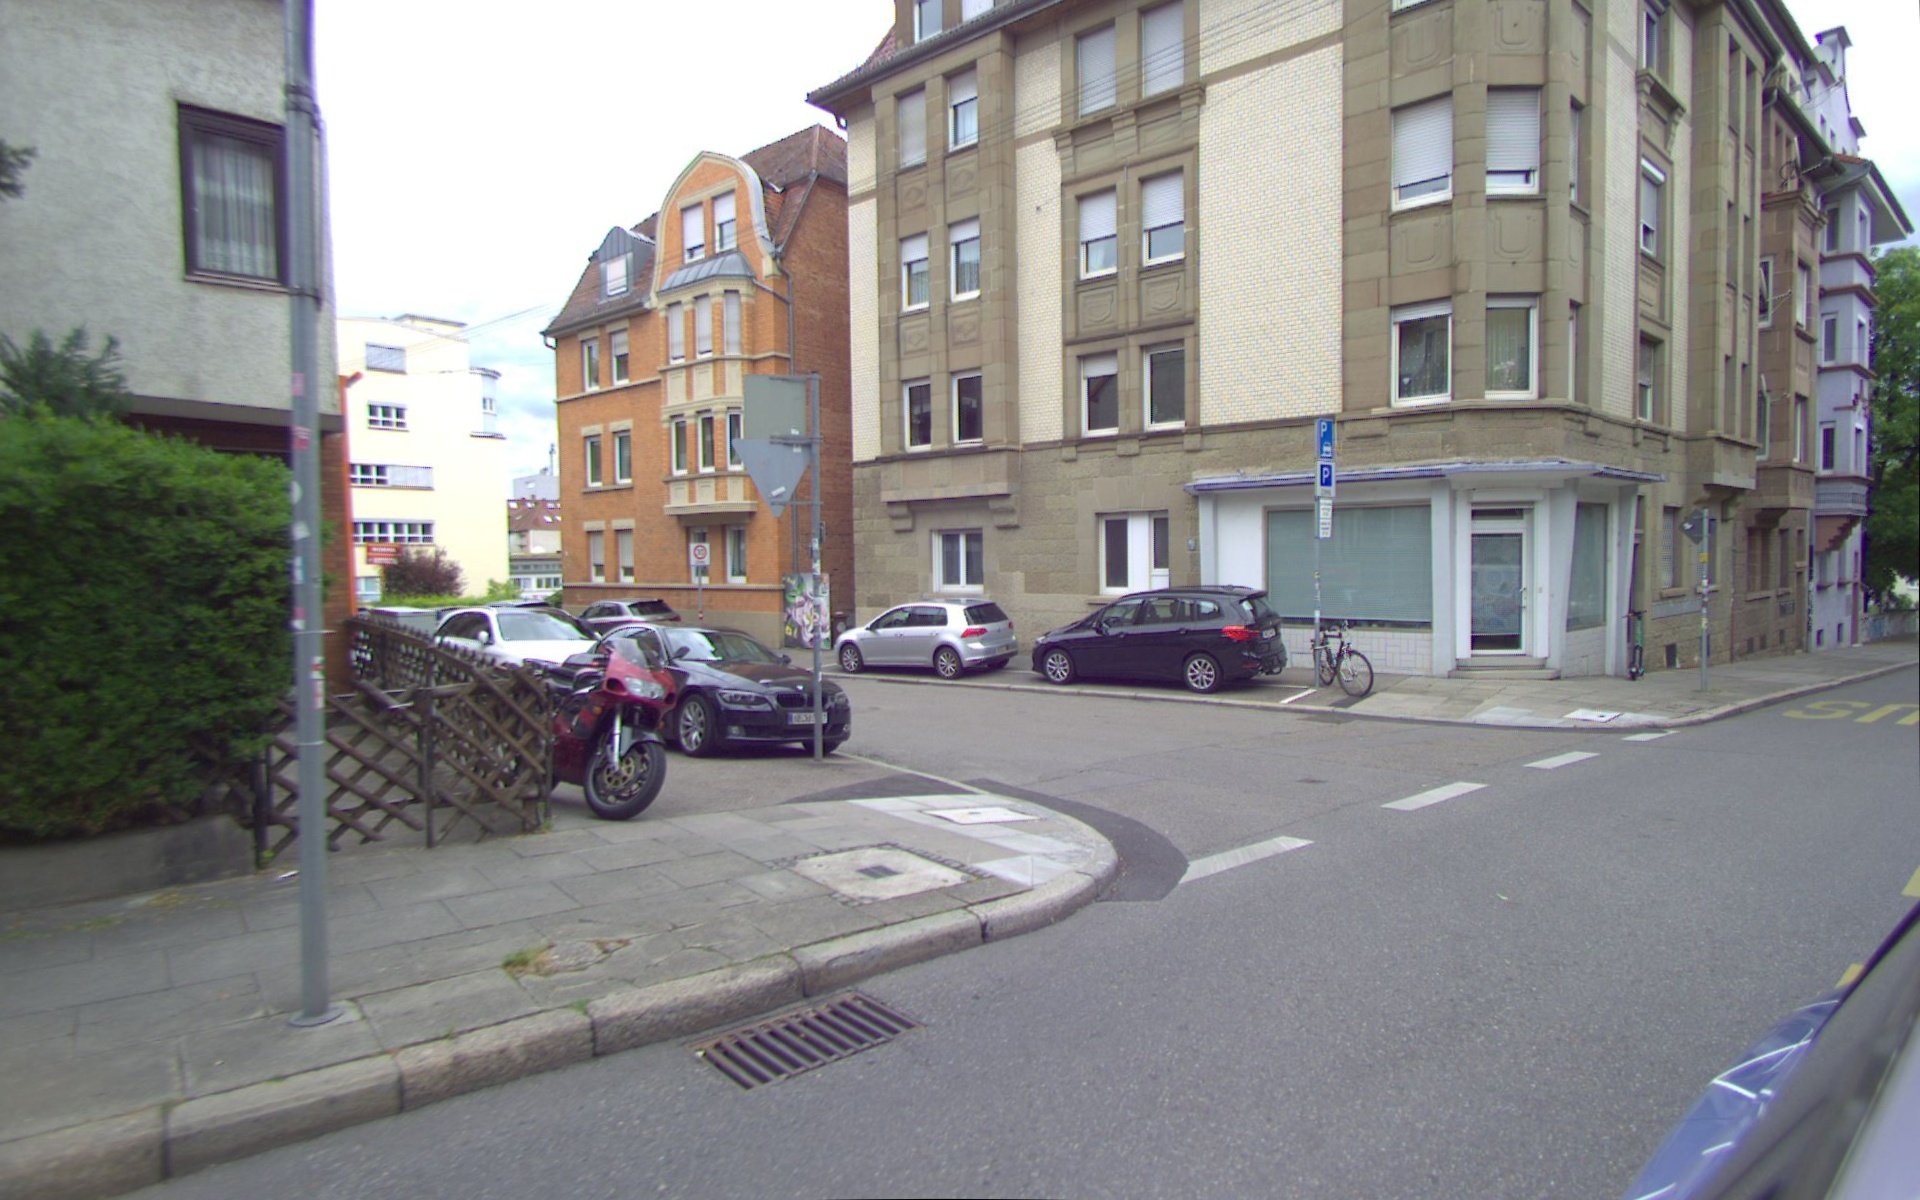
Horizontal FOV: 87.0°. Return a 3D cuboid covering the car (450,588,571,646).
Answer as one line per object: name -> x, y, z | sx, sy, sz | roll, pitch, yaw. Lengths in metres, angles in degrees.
car -> -14.178, 0.487, 31.882 | 3.960, 1.587, 1.783 | 0, 5, 38

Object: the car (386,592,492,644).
car -> -18.422, 0.589, 35.744 | 3.960, 1.587, 1.783 | 0, 5, 38

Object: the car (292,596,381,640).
car -> -25.747, 0.701, 41.752 | 3.960, 1.587, 1.783 | 0, 5, 38

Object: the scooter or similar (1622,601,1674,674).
scooter or similar -> 12.144, 0.670, 17.853 | 1.125, 1.225, 0.411 | 4, 0, -42

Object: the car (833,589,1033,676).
car -> -0.594, 0.585, 20.510 | 3.853, 1.480, 1.666 | 0, 5, 39

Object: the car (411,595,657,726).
car -> -6.483, 0.840, 15.162 | 4.299, 1.686, 1.845 | -2, -3, 44

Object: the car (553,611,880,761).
car -> -2.897, 0.860, 11.425 | 1.752, 1.302, 4.129 | 5, -3, -43

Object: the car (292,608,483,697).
car -> -10.981, 0.932, 19.307 | 4.294, 1.472, 1.768 | 0, -2, 40

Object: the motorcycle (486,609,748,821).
motorcycle -> -2.513, 0.710, 7.272 | 0.993, 1.284, 2.056 | 1, -1, -45

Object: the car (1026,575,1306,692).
car -> 3.441, 0.487, 17.320 | 4.354, 1.665, 1.764 | 0, 5, 38

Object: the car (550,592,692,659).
car -> -9.455, 0.645, 28.122 | 3.960, 1.587, 1.783 | 0, 5, 38

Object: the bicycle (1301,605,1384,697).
bicycle -> 5.907, 0.750, 15.751 | 0.630, 1.153, 2.074 | -2, 4, 5
